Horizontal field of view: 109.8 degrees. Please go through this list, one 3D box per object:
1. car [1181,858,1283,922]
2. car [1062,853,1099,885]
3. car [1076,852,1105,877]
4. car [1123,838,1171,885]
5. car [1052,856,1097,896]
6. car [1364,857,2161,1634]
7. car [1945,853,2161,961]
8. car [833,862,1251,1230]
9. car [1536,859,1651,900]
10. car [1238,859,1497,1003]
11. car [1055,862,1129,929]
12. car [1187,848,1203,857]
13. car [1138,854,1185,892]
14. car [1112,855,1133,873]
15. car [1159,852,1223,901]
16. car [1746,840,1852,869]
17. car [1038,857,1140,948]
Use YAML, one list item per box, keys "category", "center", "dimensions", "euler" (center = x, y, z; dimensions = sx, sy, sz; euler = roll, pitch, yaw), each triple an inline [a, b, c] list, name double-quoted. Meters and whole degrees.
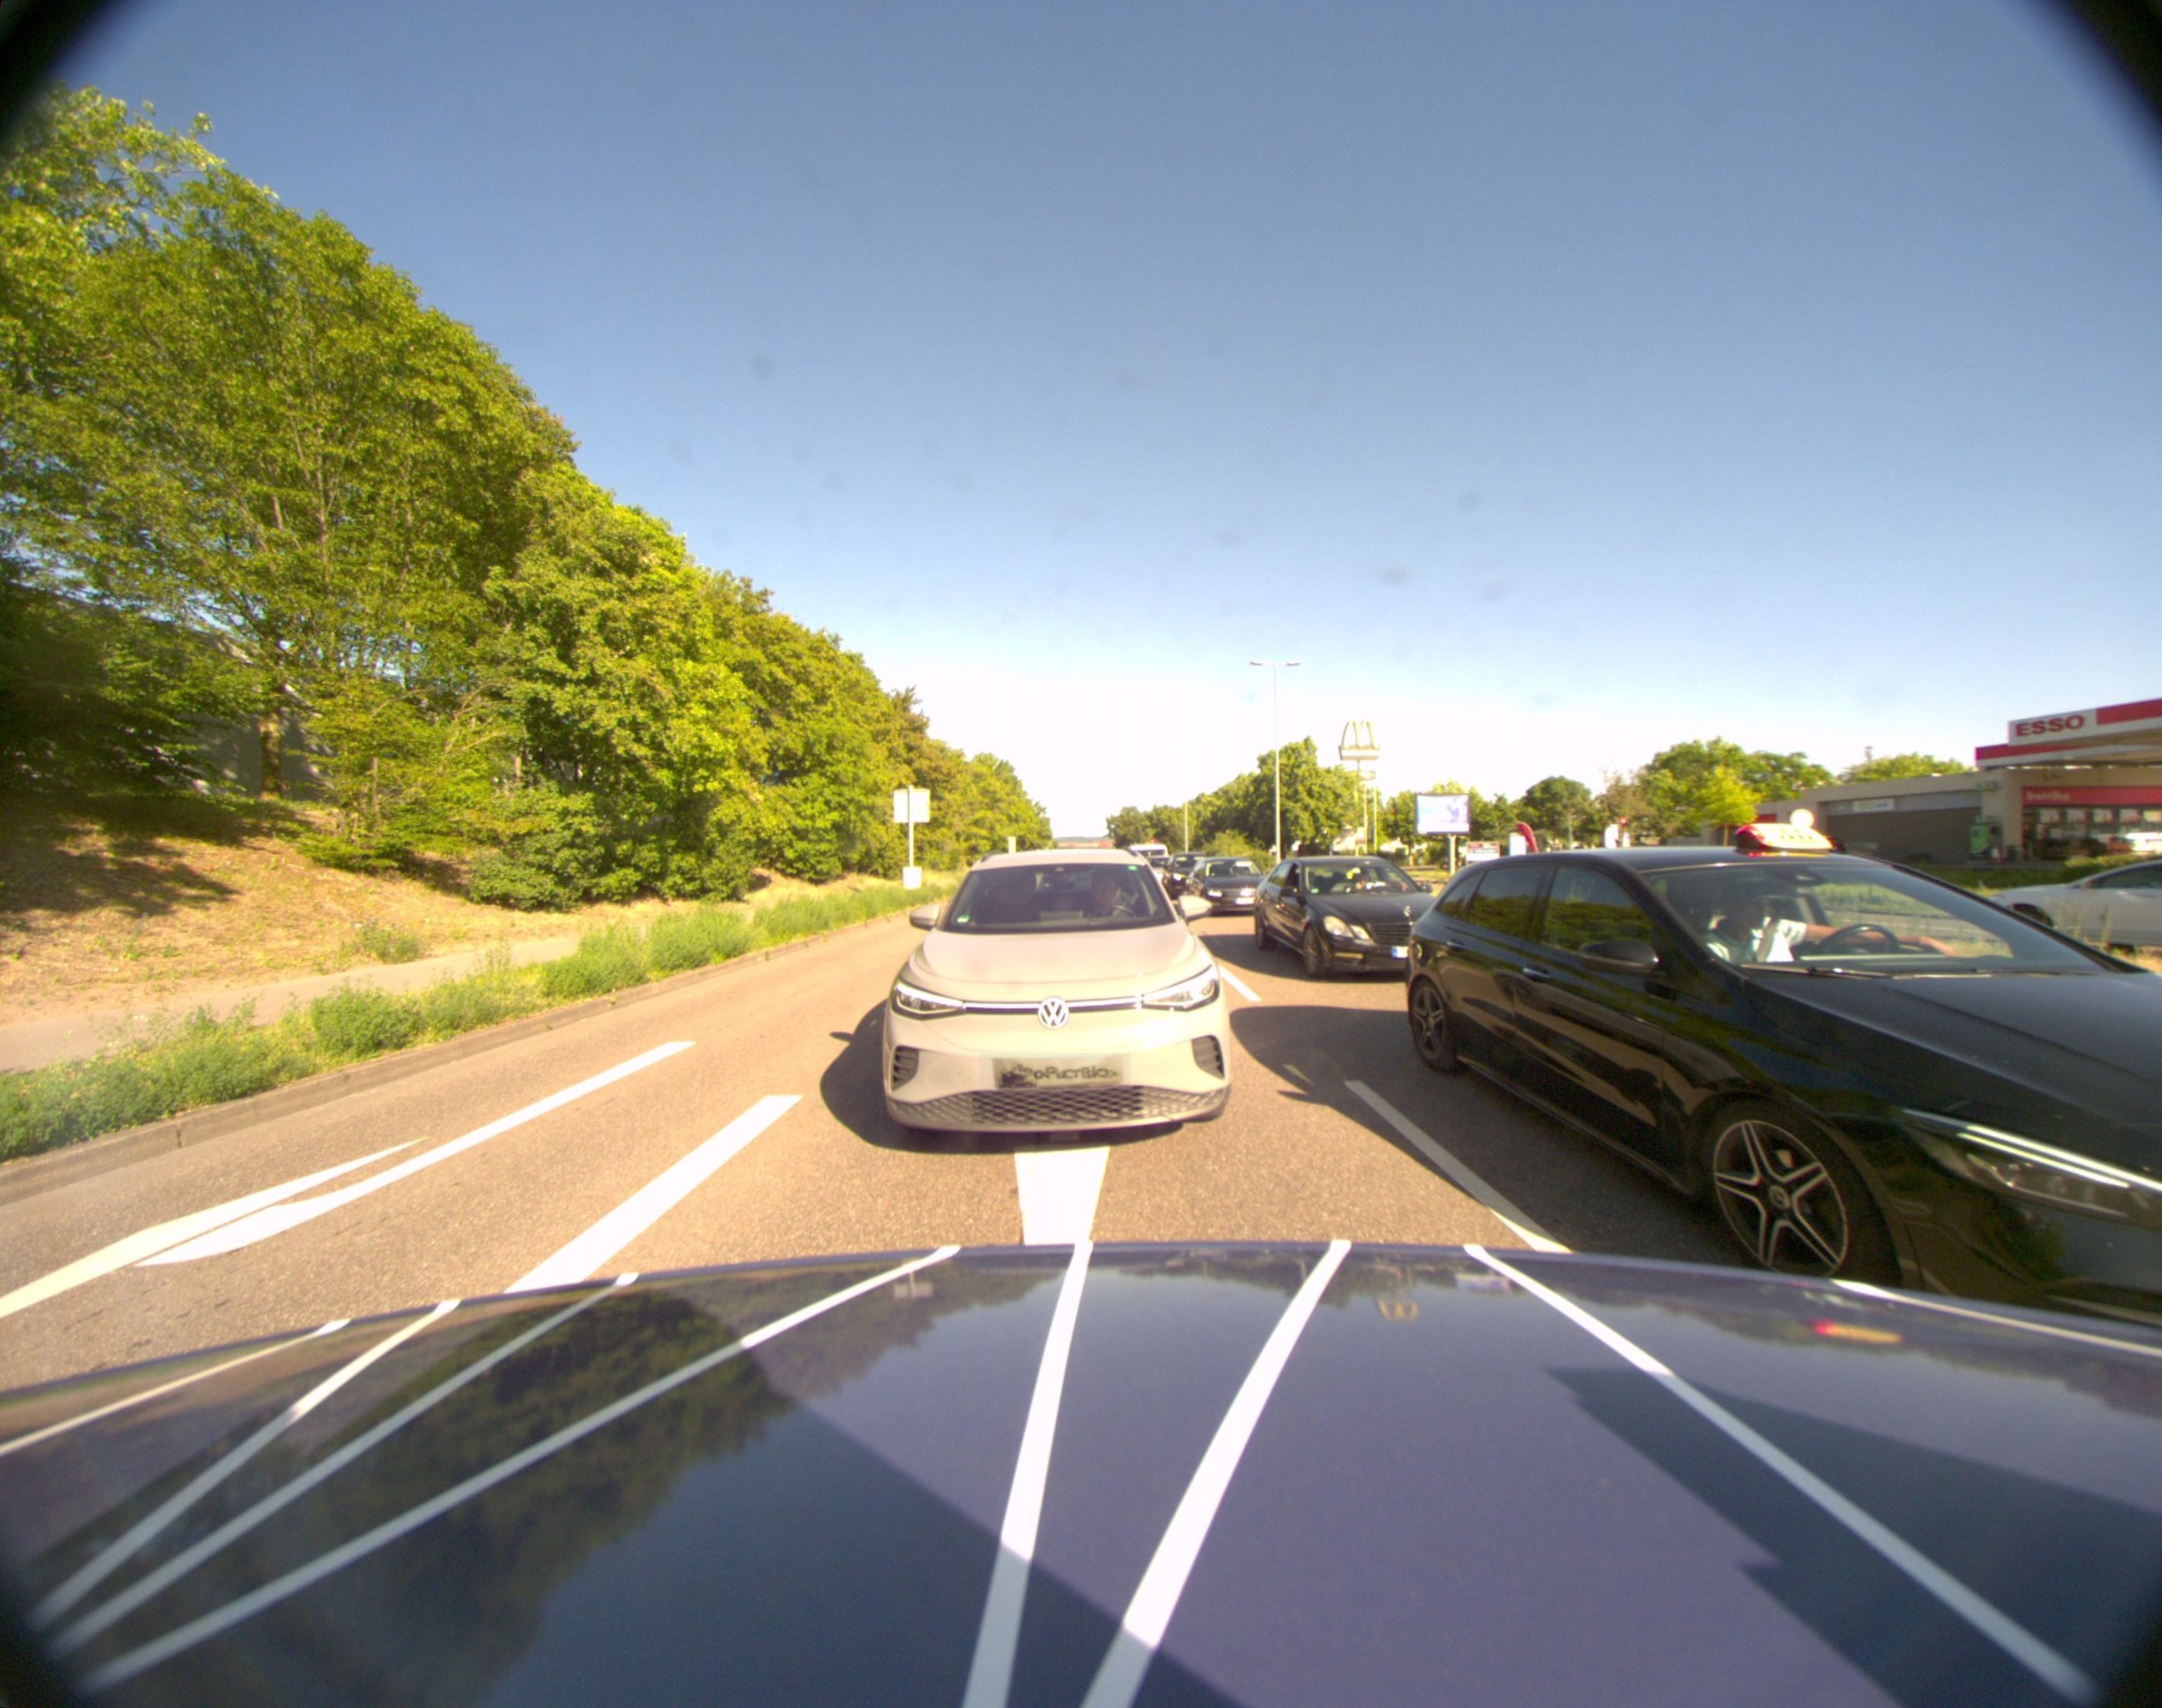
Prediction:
- category: "car"
  center: [3.872, 0.866, 20.210]
  dimensions: [1.797, 1.419, 4.287]
  euler: [-2, 0, 0]
- category: "car"
  center: [-0.042, 0.720, 39.849]
  dimensions: [1.763, 1.482, 4.402]
  euler: [-2, 1, 0]
- category: "car"
  center: [0.590, 0.662, 50.305]
  dimensions: [1.763, 1.482, 4.402]
  euler: [-2, 1, 0]
- category: "car"
  center: [3.641, 0.392, 42.907]
  dimensions: [2.019, 2.349, 6.523]
  euler: [-2, 0, 0]
- category: "car"
  center: [-0.257, 0.888, 33.028]
  dimensions: [1.763, 1.482, 4.402]
  euler: [-2, 1, 0]
- category: "car"
  center: [3.089, 0.823, 3.647]
  dimensions: [1.763, 1.482, 4.402]
  euler: [-2, 1, 0]
- category: "car"
  center: [15.956, 0.779, 10.722]
  dimensions: [1.764, 1.482, 4.878]
  euler: [2, 1, -3]
- category: "car"
  center: [-0.183, 0.904, 5.696]
  dimensions: [1.862, 1.573, 4.403]
  euler: [-2, 0, 0]
- category: "car"
  center: [19.899, 0.952, 29.726]
  dimensions: [1.763, 1.401, 3.978]
  euler: [1, 1, 0]
- category: "car"
  center: [3.588, 0.856, 10.494]
  dimensions: [1.868, 1.430, 4.402]
  euler: [-2, 1, 0]
- category: "car"
  center: [0.264, 1.045, 20.921]
  dimensions: [1.763, 1.482, 4.402]
  euler: [-2, 1, 0]
- category: "car"
  center: [17.448, -0.264, 116.540]
  dimensions: [1.763, 1.401, 3.978]
  euler: [1, 1, 0]
- category: "car"
  center: [3.573, 0.798, 34.159]
  dimensions: [1.635, 1.547, 3.777]
  euler: [-2, 0, 0]
- category: "car"
  center: [4.079, 0.999, 75.430]
  dimensions: [1.763, 1.607, 4.402]
  euler: [-2, 1, 0]
- category: "car"
  center: [3.904, 0.763, 27.572]
  dimensions: [1.674, 1.607, 3.879]
  euler: [-2, 0, 0]
- category: "car"
  center: [37.409, 0.028, 39.730]
  dimensions: [1.682, 1.401, 3.978]
  euler: [1, 1, 0]
- category: "car"
  center: [0.134, 0.878, 15.753]
  dimensions: [1.763, 1.482, 4.402]
  euler: [-2, 1, 0]
